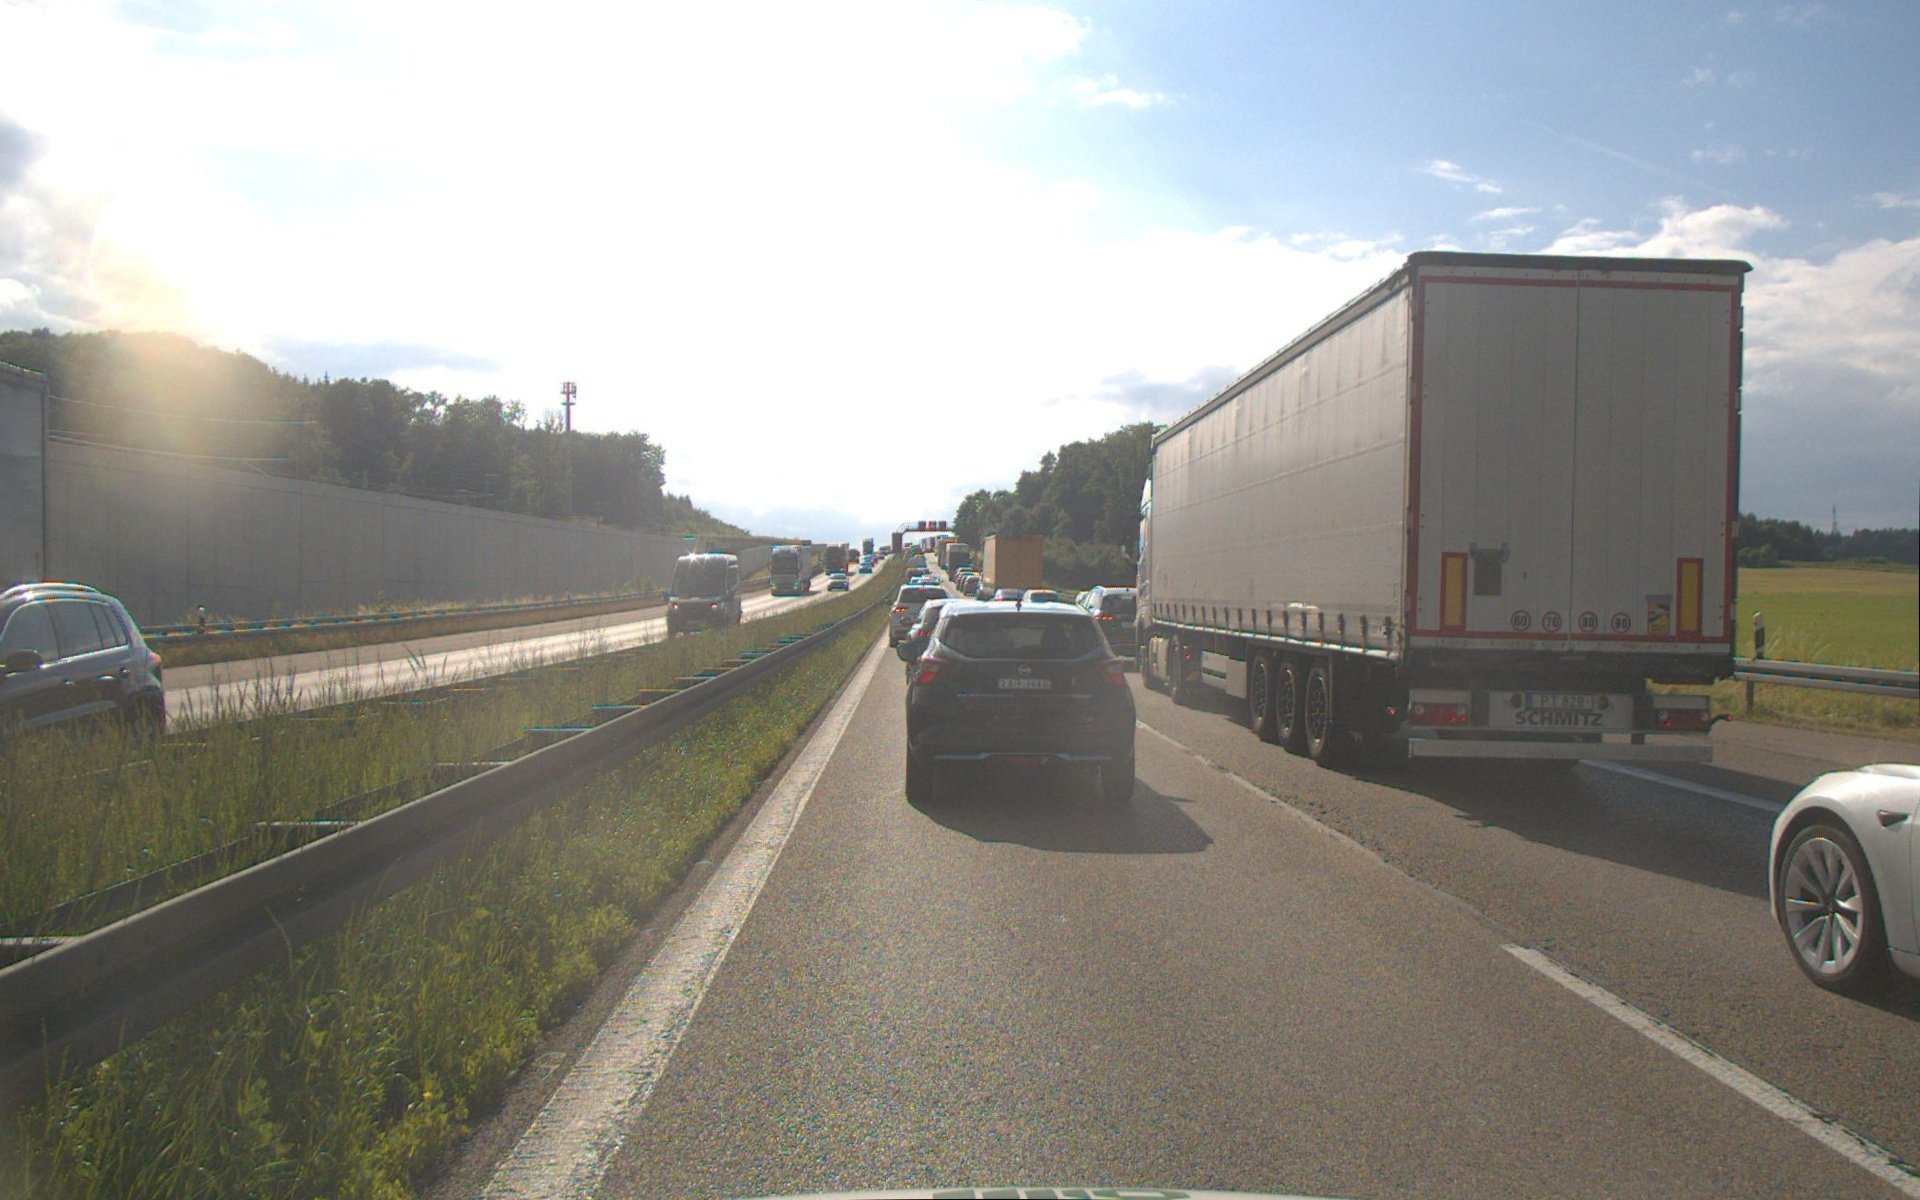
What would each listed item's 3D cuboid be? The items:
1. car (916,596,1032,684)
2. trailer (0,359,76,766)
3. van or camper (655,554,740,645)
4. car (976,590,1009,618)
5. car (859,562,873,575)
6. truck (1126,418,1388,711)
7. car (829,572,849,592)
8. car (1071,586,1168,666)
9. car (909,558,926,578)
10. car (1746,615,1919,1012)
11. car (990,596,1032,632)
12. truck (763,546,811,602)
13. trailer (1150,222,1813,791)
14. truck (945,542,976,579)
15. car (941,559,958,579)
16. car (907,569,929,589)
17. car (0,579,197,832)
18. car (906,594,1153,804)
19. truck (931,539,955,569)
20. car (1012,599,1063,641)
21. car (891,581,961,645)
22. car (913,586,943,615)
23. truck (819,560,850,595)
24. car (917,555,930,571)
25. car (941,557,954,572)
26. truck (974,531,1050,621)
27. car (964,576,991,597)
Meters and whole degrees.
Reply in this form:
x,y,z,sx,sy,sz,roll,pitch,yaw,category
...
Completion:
x,y,z,sx,sy,sz,roll,pitch,yaw,category
0.182,0.641,28.372,1.835,1.381,4.231,0,0,-1,car
-11.114,-0.403,12.180,2.341,4.255,13.200,-1,0,-1,trailer
-8.837,0.016,56.118,2.048,2.869,5.893,1,-1,-2,van or camper
2.003,0.222,103.347,1.836,1.673,4.230,0,0,-2,car
-12.907,-4.385,227.734,1.708,1.735,4.231,1,1,-1,car
4.450,-0.458,25.895,3.070,4.086,5.162,1,-1,-1,truck
-11.107,-1.621,151.857,1.709,1.735,4.229,1,-1,-3,car
3.406,0.543,36.041,1.663,1.639,4.436,0,0,0,car
-4.789,-3.636,186.555,1.835,2.196,5.211,0,3,-2,car
4.395,0.782,4.985,1.753,1.418,4.433,0,0,-3,car
2.434,0.660,79.778,1.835,1.673,4.231,0,0,-1,car
-15.044,-2.192,144.634,3.230,4.657,12.437,0,0,-2,truck
4.557,-0.557,18.650,3.067,4.081,13.362,1,-1,-1,trailer
0.019,-5.154,217.139,3.395,4.657,12.435,1,1,-3,truck
-1.205,-3.646,191.712,1.835,2.196,5.211,0,3,-2,car
-3.645,-1.827,141.978,1.836,1.673,4.231,0,1,-3,car
-7.461,0.728,12.404,1.674,1.736,4.171,0,0,-2,car
0.446,0.703,13.764,1.737,1.476,4.231,0,0,-1,car
-2.770,-7.231,262.776,3.395,4.657,12.435,1,1,-3,truck
3.224,0.823,69.160,1.835,1.673,4.231,0,0,-1,car
-0.928,0.353,45.571,1.835,1.673,4.231,0,0,-1,car
-1.987,-0.010,102.462,1.835,1.673,4.232,0,1,-1,car
-16.962,-3.008,224.014,3.229,4.634,12.441,0,0,0,truck
-5.349,-5.471,242.898,1.835,2.196,5.211,0,3,-2,car
-1.909,-5.288,246.661,1.835,2.196,5.211,0,3,-2,car
2.766,-1.179,92.082,3.231,4.657,12.433,1,-1,-3,truck
1.396,-1.107,134.527,1.836,1.673,4.229,0,1,-5,car
